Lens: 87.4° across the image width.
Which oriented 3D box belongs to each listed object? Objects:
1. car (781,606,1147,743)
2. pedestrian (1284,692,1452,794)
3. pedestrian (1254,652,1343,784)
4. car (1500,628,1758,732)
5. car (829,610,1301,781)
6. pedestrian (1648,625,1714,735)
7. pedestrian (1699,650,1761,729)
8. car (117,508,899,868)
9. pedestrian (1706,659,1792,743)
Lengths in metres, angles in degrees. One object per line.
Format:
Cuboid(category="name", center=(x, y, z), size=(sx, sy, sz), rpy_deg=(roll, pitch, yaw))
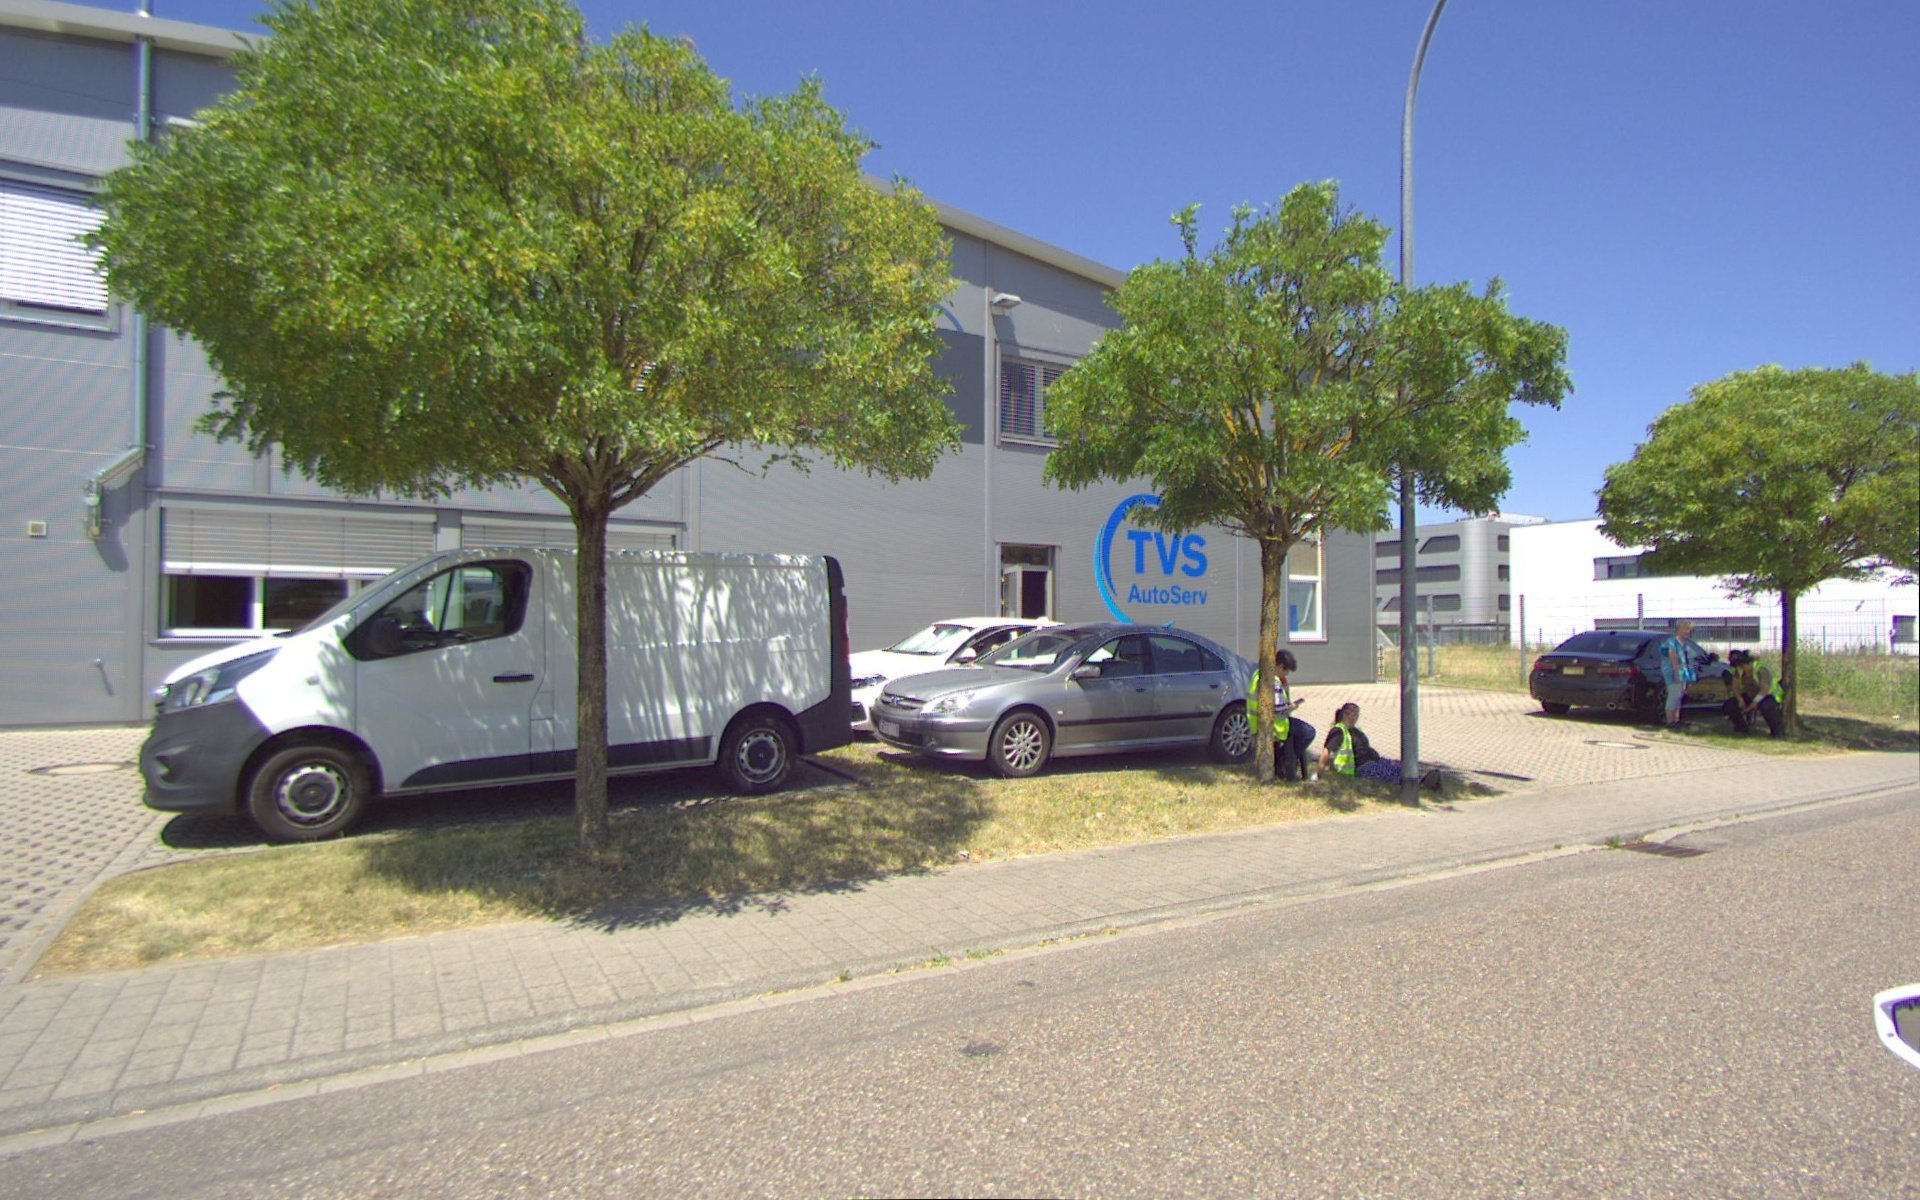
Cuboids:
Cuboid(category="car", center=(0.103, 0.870, 13.077), size=(4.412, 1.484, 1.918), rpy_deg=(1, 0, -30))
Cuboid(category="pedestrian", center=(3.944, 1.355, 9.799), size=(0.743, 0.759, 1.353), rpy_deg=(1, 1, -28))
Cuboid(category="pedestrian", center=(3.156, 1.093, 9.378), size=(0.547, 1.165, 0.478), rpy_deg=(4, 0, -21))
Cuboid(category="car", center=(11.459, 1.263, 17.122), size=(4.640, 1.484, 1.916), rpy_deg=(1, 0, -32))
Cuboid(category="car", center=(1.207, 0.952, 10.635), size=(4.785, 1.459, 1.918), rpy_deg=(3, -3, -30))
Cuboid(category="pedestrian", center=(10.997, 1.198, 15.330), size=(0.743, 1.616, 0.503), rpy_deg=(1, 1, -28))
Cuboid(category="pedestrian", center=(12.257, 1.411, 15.987), size=(0.743, 1.207, 0.503), rpy_deg=(1, 1, -28))
Cuboid(category="car", center=(-3.138, 0.536, 7.869), size=(5.071, 2.046, 1.826), rpy_deg=(1, 0, -33))
Cuboid(category="pedestrian", center=(11.373, 1.441, 14.484), size=(0.638, 1.113, 0.748), rpy_deg=(1, 1, -26))
